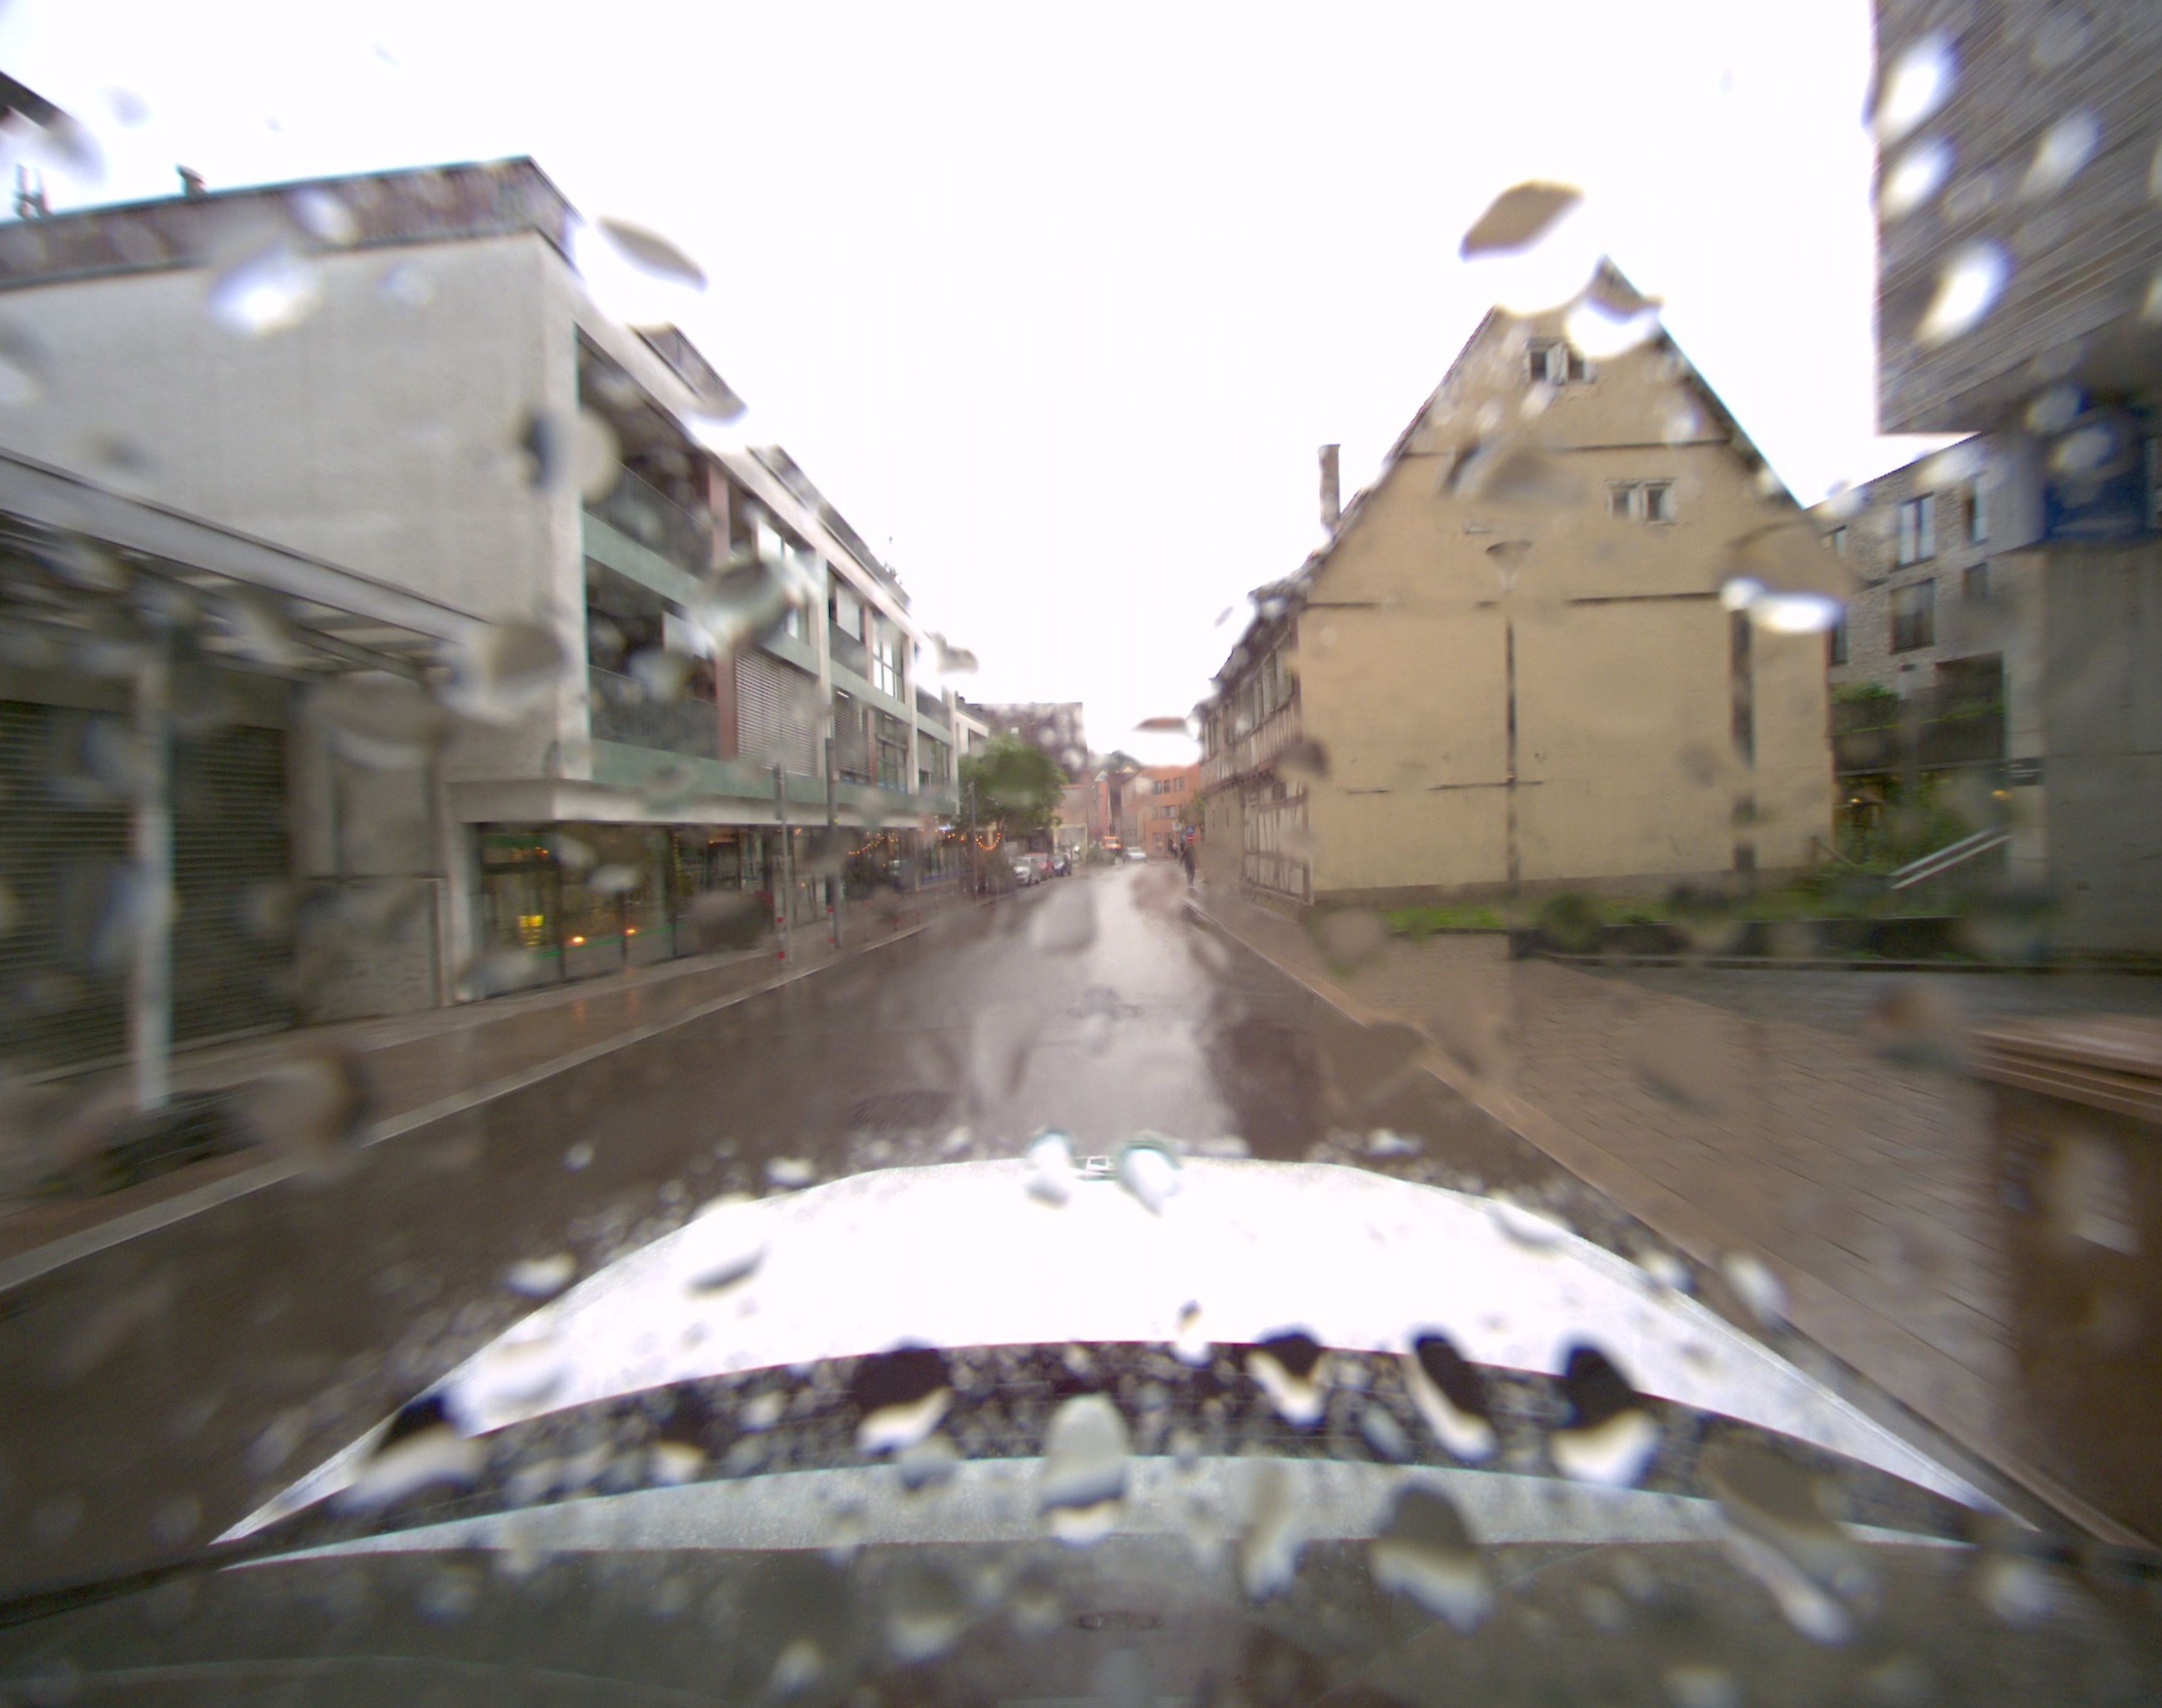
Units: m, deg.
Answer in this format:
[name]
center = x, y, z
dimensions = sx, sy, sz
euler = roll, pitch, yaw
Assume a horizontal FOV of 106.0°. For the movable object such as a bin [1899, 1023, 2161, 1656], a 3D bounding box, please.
[movable object such as a bin]
center = 2.433, 0.975, 1.703
dimensions = 0.763, 1.095, 0.581
euler = -4, -1, 2
